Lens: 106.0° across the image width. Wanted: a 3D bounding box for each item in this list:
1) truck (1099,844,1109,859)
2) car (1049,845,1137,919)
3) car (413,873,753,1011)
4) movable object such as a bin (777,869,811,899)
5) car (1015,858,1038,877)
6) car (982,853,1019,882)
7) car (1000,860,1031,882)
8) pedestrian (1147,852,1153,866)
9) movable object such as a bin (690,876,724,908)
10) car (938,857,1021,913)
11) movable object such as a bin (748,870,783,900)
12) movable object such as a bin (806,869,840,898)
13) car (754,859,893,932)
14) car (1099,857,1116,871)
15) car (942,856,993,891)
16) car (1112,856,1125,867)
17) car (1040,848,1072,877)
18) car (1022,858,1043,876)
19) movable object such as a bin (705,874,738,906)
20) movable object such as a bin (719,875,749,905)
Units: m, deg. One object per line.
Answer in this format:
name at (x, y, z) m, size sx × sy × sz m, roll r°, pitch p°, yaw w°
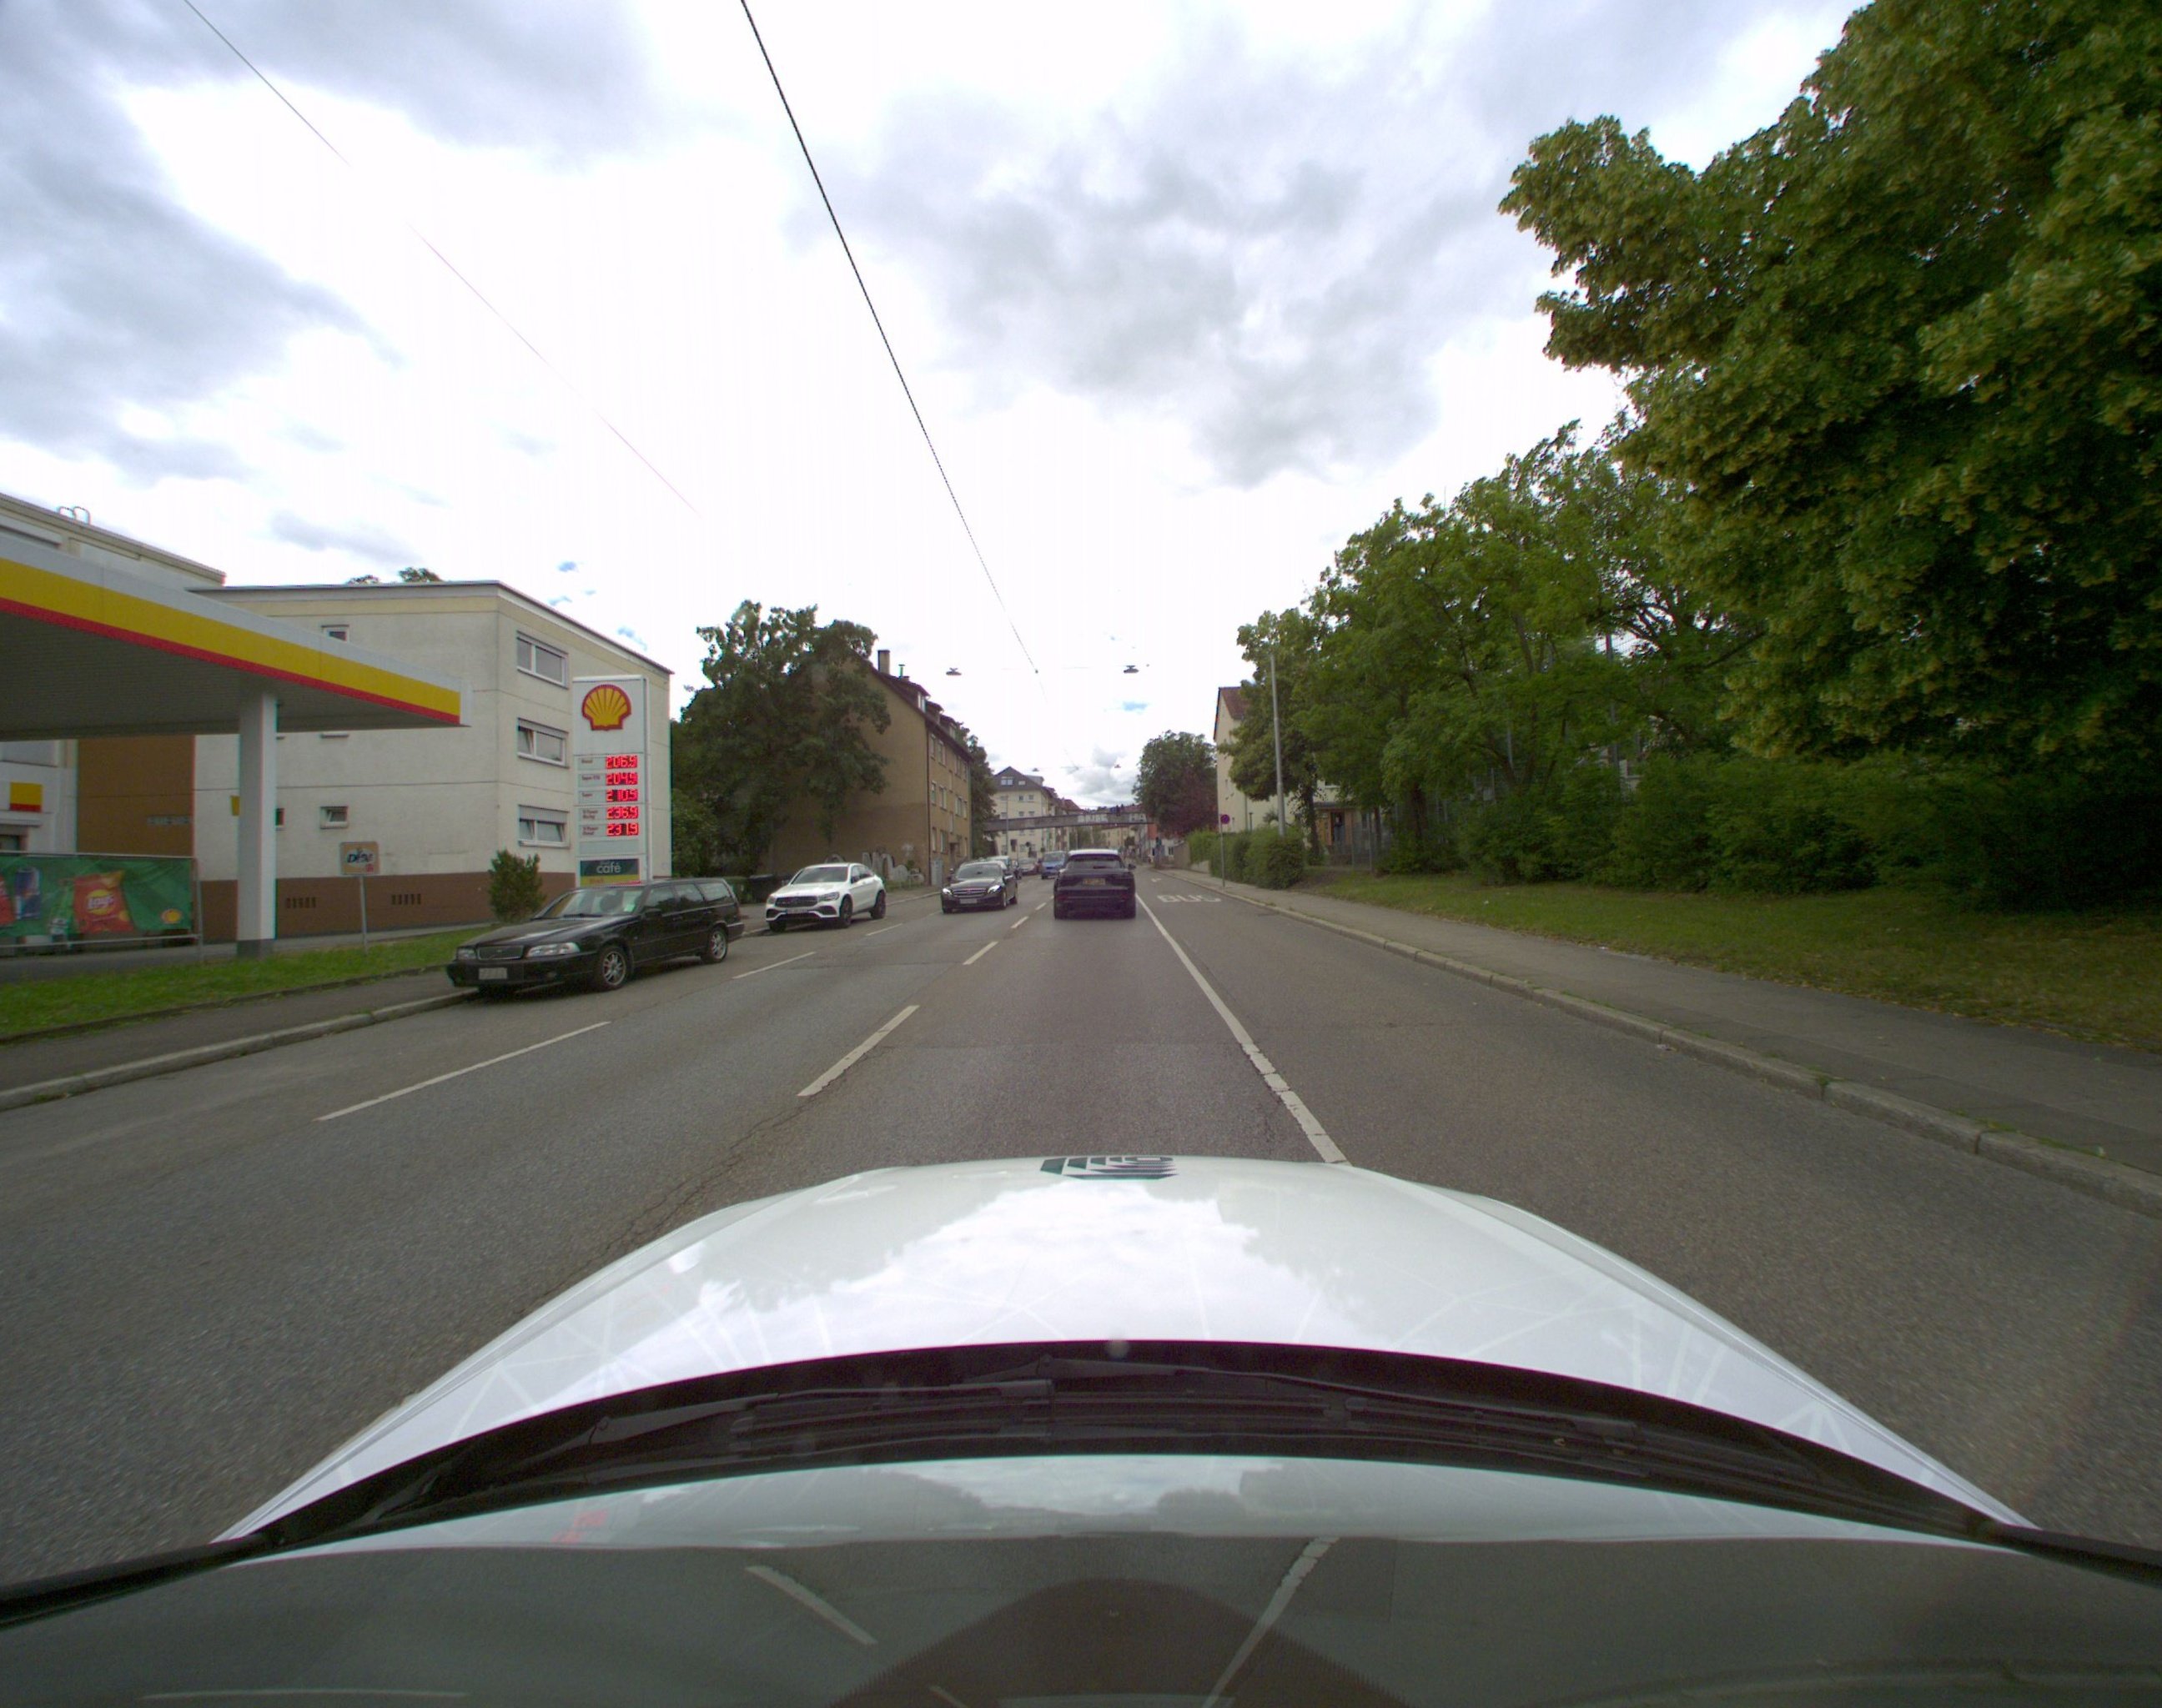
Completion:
truck at (5.502, -0.633, 193.562) m, size 2.258 × 3.424 × 9.881 m, roll -2°, pitch 0°, yaw 2°
car at (0.354, 0.633, 20.779) m, size 1.986 × 1.662 × 4.002 m, roll -1°, pitch 1°, yaw 2°
car at (-6.893, 1.103, 12.060) m, size 1.790 × 1.431 × 4.749 m, roll -3°, pitch 0°, yaw 4°
movable object such as a bin at (-14.411, 1.517, 40.912) m, size 1.388 × 1.428 × 0.913 m, roll -1°, pitch 0°, yaw -1°
car at (-4.874, 1.180, 73.263) m, size 1.740 × 1.568 × 3.907 m, roll -3°, pitch 0°, yaw 0°
car at (-5.349, 0.860, 54.545) m, size 1.770 × 1.754 × 4.559 m, roll -3°, pitch 0°, yaw 2°
car at (-4.742, 1.183, 59.554) m, size 1.739 × 1.439 × 3.914 m, roll -3°, pitch 0°, yaw 2°
pedestrian at (9.332, 0.697, 109.966) m, size 0.650 × 1.792 × 0.714 m, roll -2°, pitch 0°, yaw -1°
movable object such as a bin at (-17.325, 1.753, 37.798) m, size 0.907 × 1.428 × 1.397 m, roll -1°, pitch 0°, yaw -1°
car at (-3.047, 0.883, 25.286) m, size 1.771 × 1.466 × 4.502 m, roll -3°, pitch 0°, yaw 2°
movable object such as a bin at (-15.836, 1.545, 40.879) m, size 1.388 × 1.428 × 0.913 m, roll -1°, pitch 0°, yaw -1°
movable object such as a bin at (-12.975, 1.480, 40.934) m, size 1.388 × 1.428 × 0.913 m, roll -1°, pitch 0°, yaw -1°
car at (-6.534, 0.992, 21.305) m, size 1.908 × 1.577 × 4.702 m, roll -3°, pitch 0°, yaw 2°
car at (2.779, 1.028, 84.495) m, size 1.734 × 1.400 × 4.002 m, roll -1°, pitch 1°, yaw 2°
car at (-5.904, 0.975, 42.932) m, size 1.775 × 1.609 × 4.268 m, roll -4°, pitch 0°, yaw 3°
car at (5.107, 0.975, 112.015) m, size 1.734 × 1.400 × 4.002 m, roll -1°, pitch 1°, yaw 2°
car at (-1.698, 0.576, 57.280) m, size 1.924 × 1.901 × 4.591 m, roll -2°, pitch 0°, yaw 2°
car at (-4.624, 1.243, 78.002) m, size 1.528 × 1.540 × 3.983 m, roll -3°, pitch 0°, yaw 2°
movable object such as a bin at (-17.314, 1.725, 39.247) m, size 0.907 × 1.428 × 1.397 m, roll -1°, pitch 0°, yaw -1°
movable object such as a bin at (-17.315, 1.774, 40.678) m, size 0.907 × 1.428 × 1.397 m, roll -1°, pitch 0°, yaw -1°
